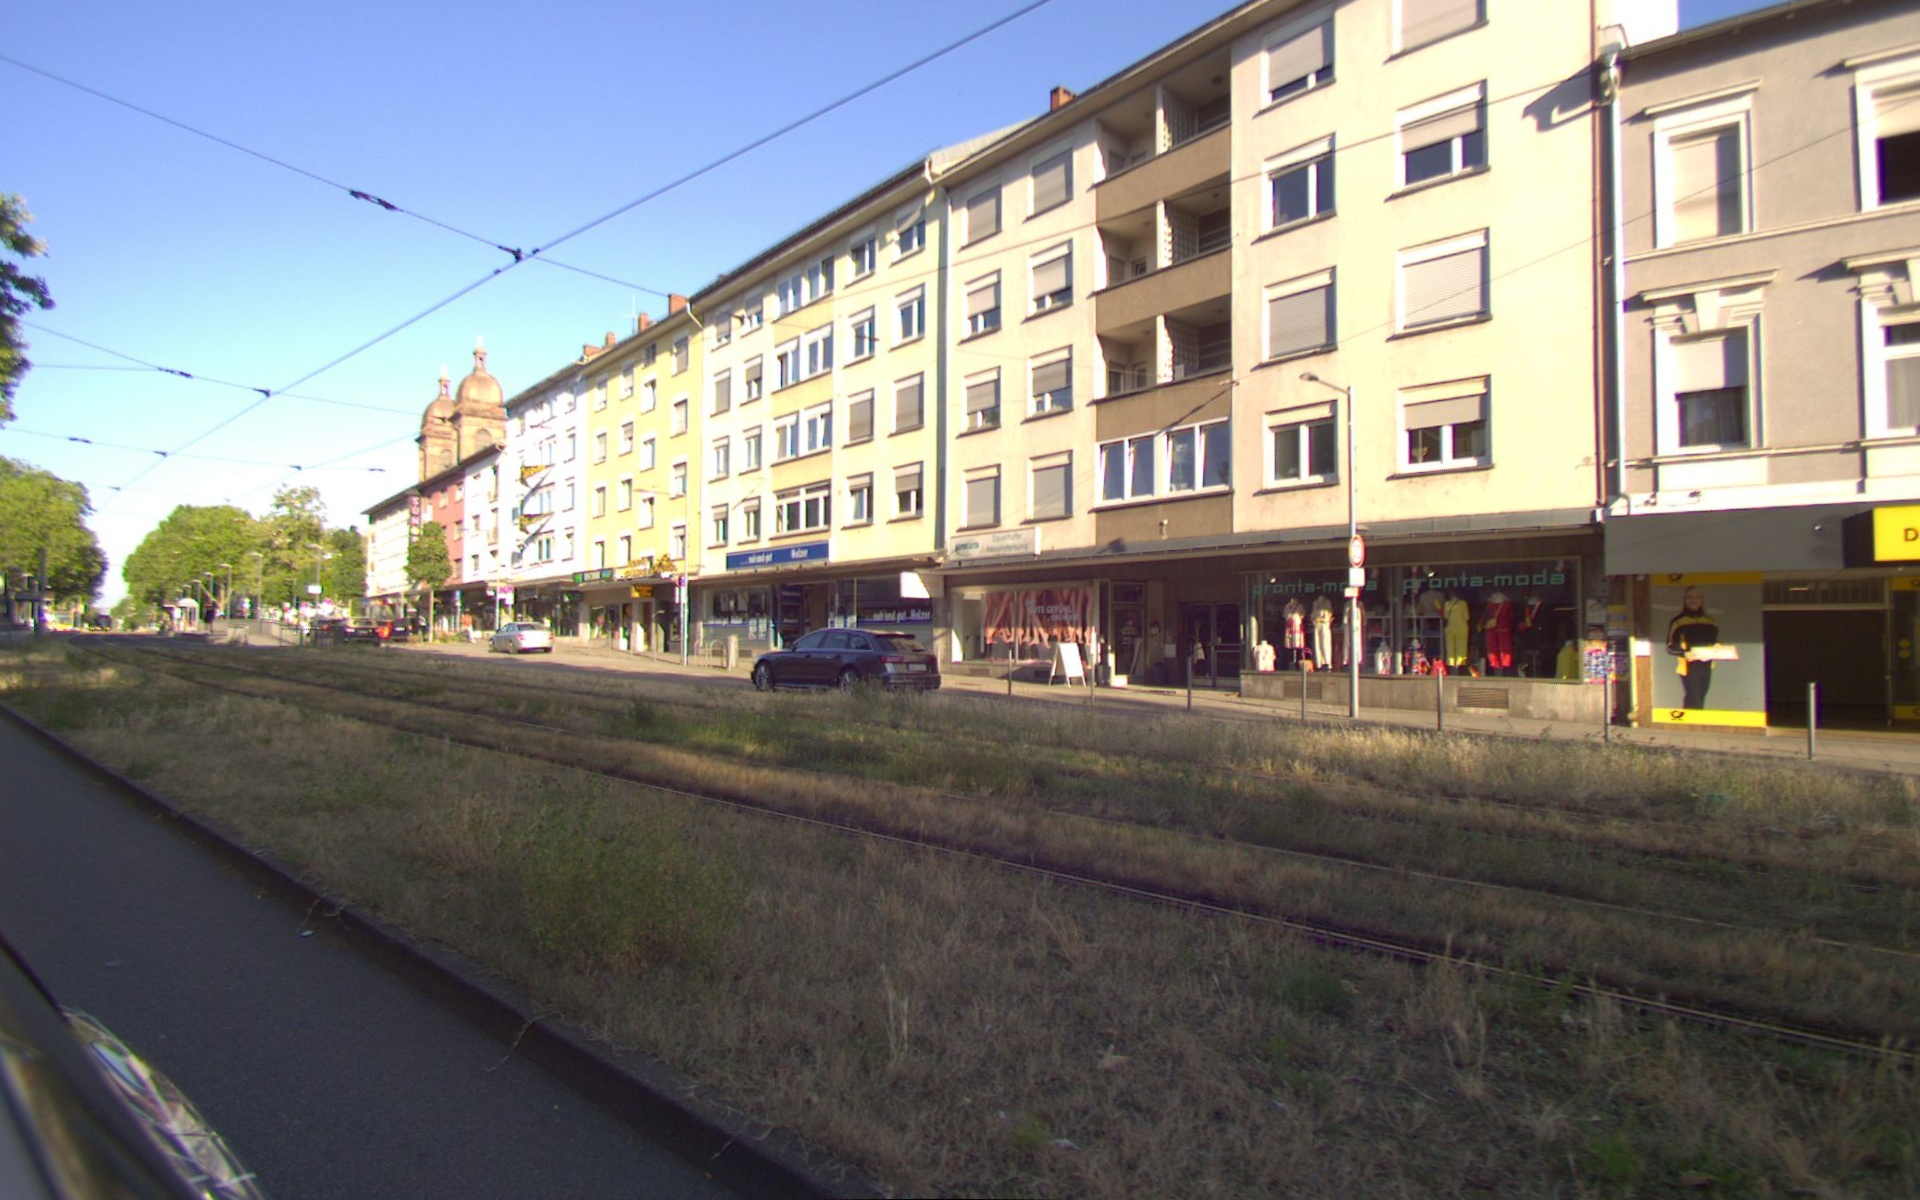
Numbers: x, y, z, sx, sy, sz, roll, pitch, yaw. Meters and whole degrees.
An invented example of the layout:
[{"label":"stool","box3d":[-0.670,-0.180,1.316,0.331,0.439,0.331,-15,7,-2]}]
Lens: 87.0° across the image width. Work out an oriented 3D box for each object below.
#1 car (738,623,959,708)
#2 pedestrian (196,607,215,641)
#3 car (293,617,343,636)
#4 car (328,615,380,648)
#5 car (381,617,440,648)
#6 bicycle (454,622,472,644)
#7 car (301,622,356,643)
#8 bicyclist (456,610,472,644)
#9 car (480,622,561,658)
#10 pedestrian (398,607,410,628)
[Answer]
[{"label":"car","box3d":[-2.452,1.295,21.404,4.773,1.571,1.972,-1,-2,42]},{"label":"pedestrian","box3d":[-42.813,1.366,57.452,0.590,1.863,0.733,-2,-3,43]},{"label":"car","box3d":[-55.512,2.289,87.598,1.720,1.497,3.998,-1,0,2]},{"label":"car","box3d":[-29.685,1.528,49.557,1.700,1.520,3.483,2,-2,-38]},{"label":"car","box3d":[-35.046,2.041,64.647,1.837,1.813,3.772,-1,0,-3]},{"label":"bicycle","box3d":[-28.654,1.895,58.359,0.696,1.168,2.205,0,0,-33]},{"label":"car","box3d":[-50.931,2.612,81.693,1.846,1.541,3.995,-1,0,4]},{"label":"bicyclist","box3d":[-28.396,1.528,57.914,0.683,1.901,1.061,0,0,-32]},{"label":"car","box3d":[-20.054,1.772,46.112,1.970,1.489,4.414,0,0,-44]},{"label":"pedestrian","box3d":[-49.805,1.557,90.608,0.590,1.863,0.733,-2,-3,43]}]
